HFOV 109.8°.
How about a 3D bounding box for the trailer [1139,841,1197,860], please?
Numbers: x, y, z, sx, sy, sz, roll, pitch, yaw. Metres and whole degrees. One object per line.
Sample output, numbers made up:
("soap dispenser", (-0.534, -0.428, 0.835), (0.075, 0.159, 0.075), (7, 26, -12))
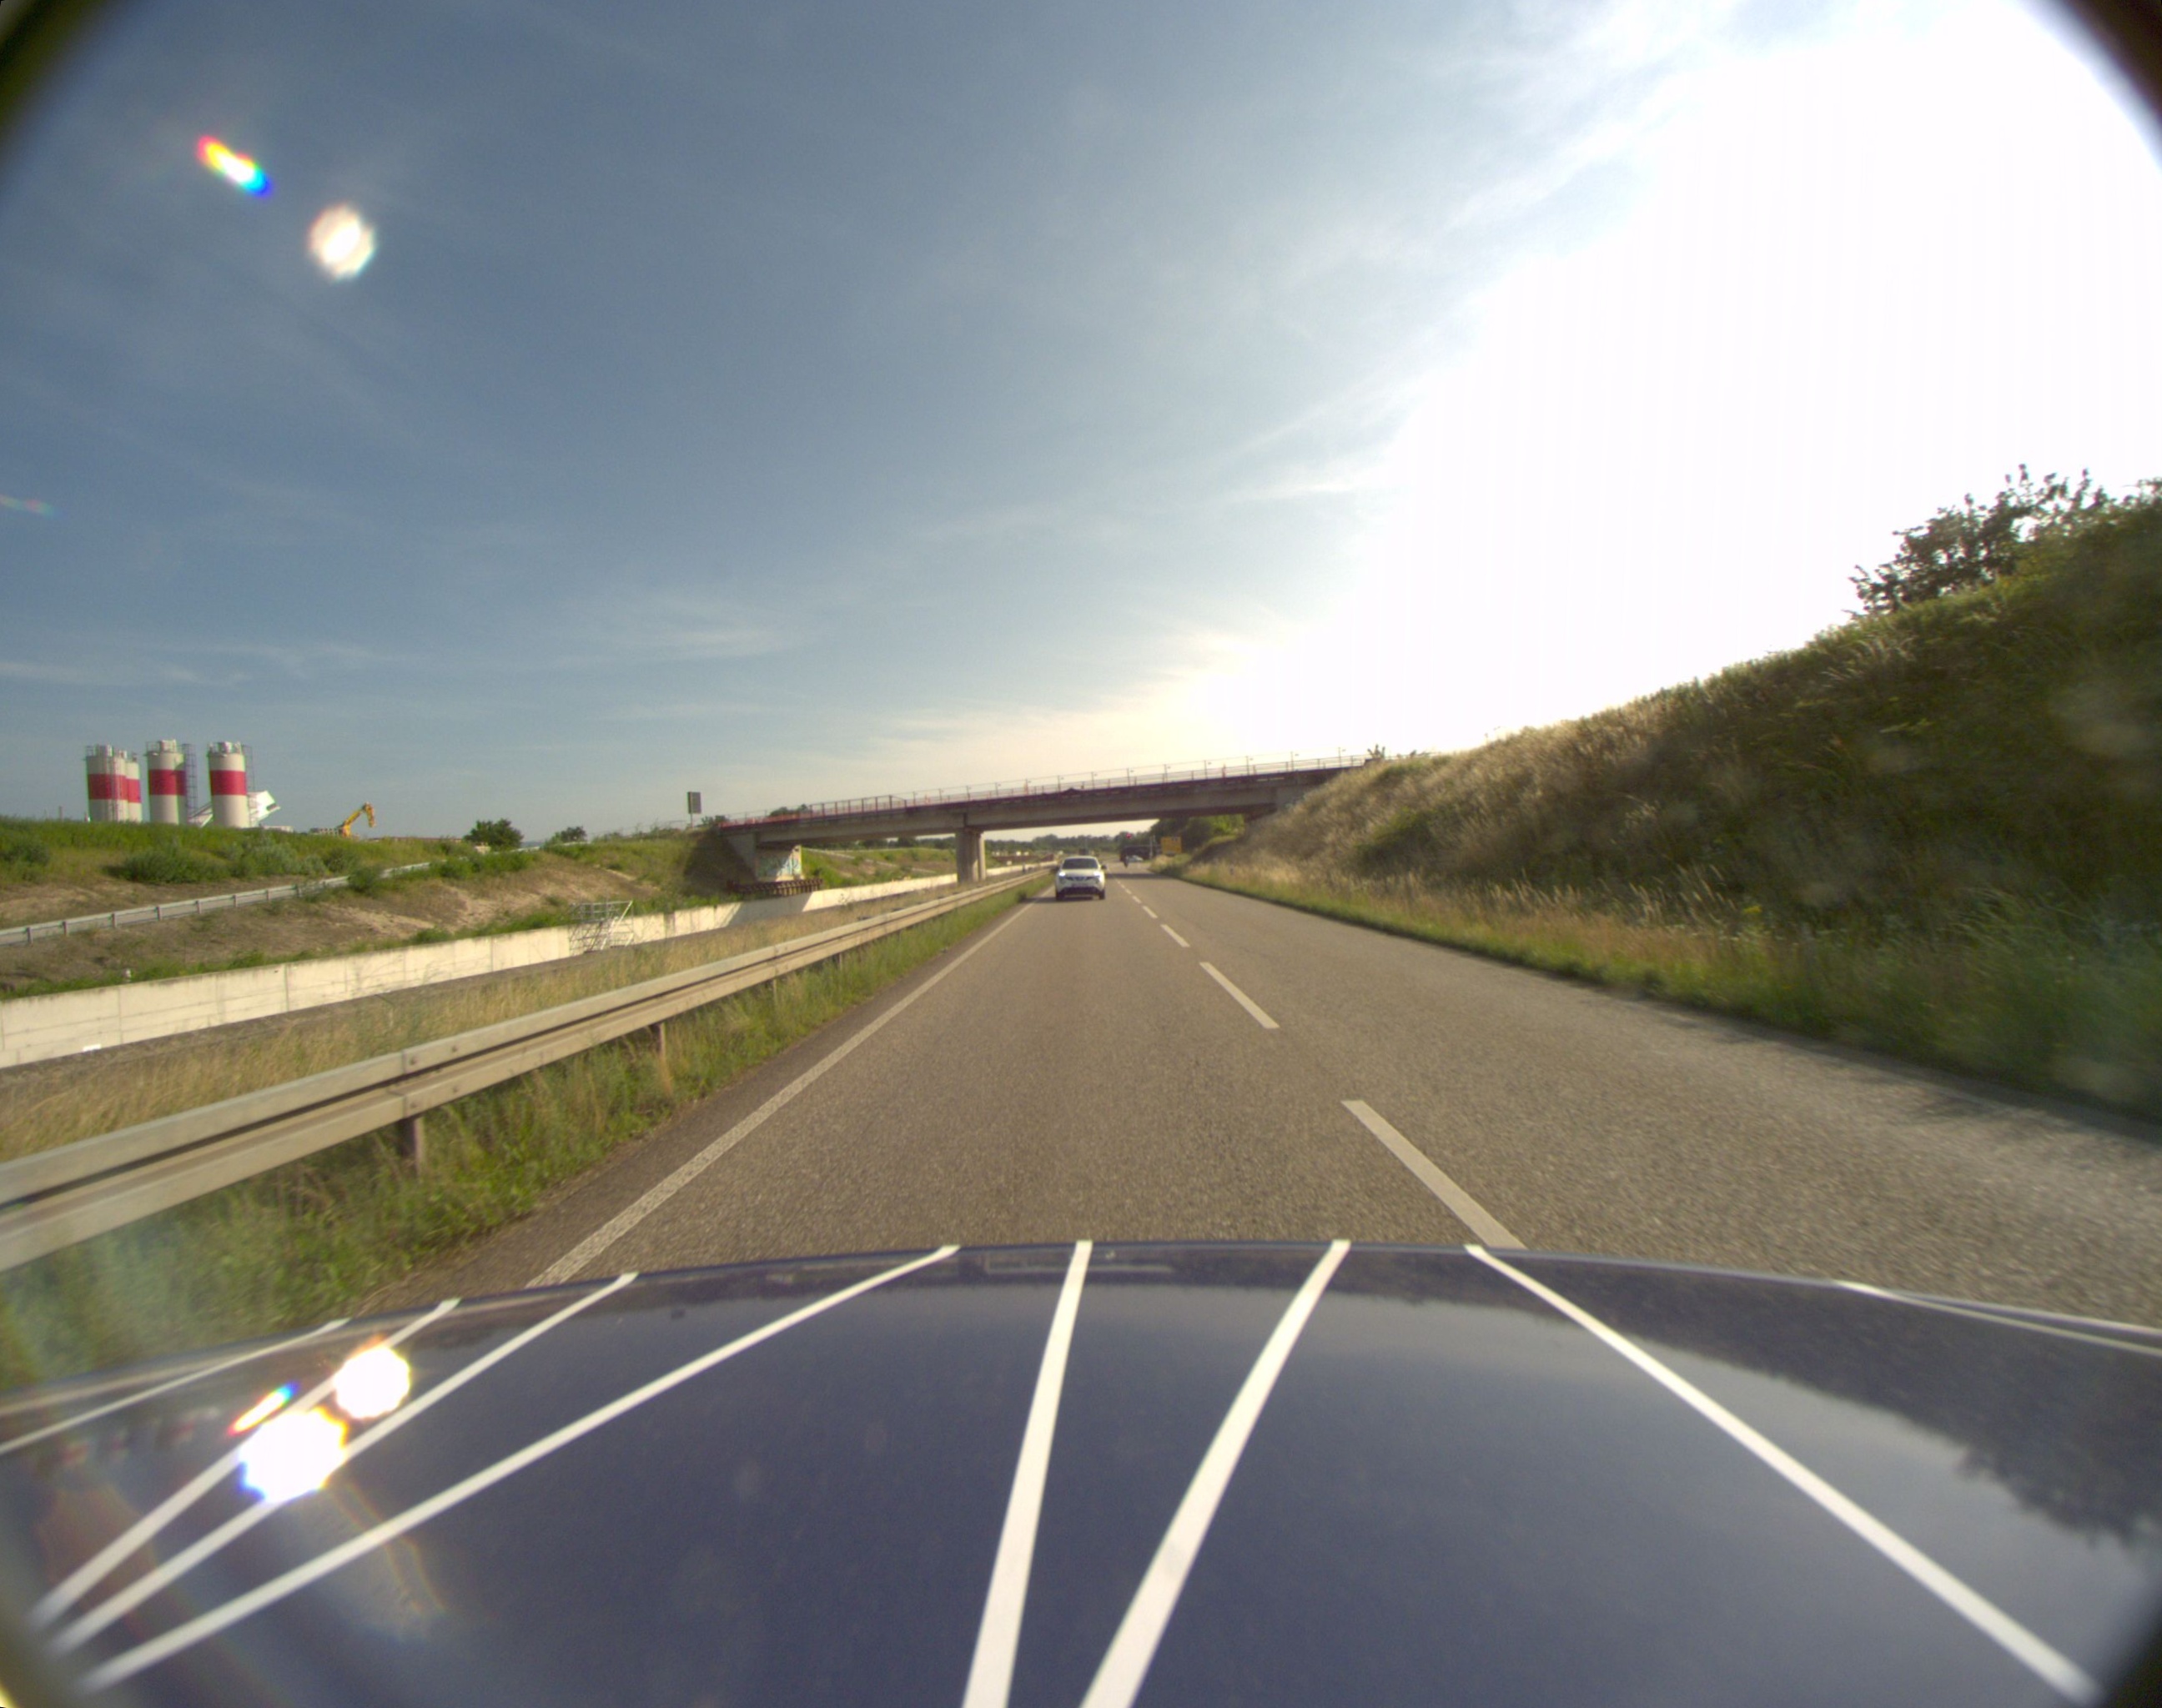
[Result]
("trailer", (21.326, -0.856, 187.053), (13.763, 4.089, 3.566), (-2, 0, 31))

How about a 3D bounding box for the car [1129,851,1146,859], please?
("car", (13.297, 0.253, 178.934), (2.003, 1.602, 4.188), (-2, 0, -29))

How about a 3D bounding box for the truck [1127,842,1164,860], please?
("truck", (16.164, -0.649, 190.404), (8.379, 4.089, 3.566), (-2, 0, 31))

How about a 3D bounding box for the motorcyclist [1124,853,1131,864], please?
("motorcyclist", (6.089, 0.566, 99.756), (0.881, 1.443, 1.284), (-1, 1, -1))

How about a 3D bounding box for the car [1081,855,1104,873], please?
("car", (0.966, 0.840, 66.539), (1.908, 1.512, 4.465), (-2, 0, -1))

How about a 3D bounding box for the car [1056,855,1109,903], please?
("car", (-0.019, 0.871, 28.501), (1.789, 1.593, 4.571), (-1, 0, -2))

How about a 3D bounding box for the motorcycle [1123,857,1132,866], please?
("motorcycle", (6.097, 0.989, 99.738), (1.044, 1.111, 2.132), (-1, 0, -1))
